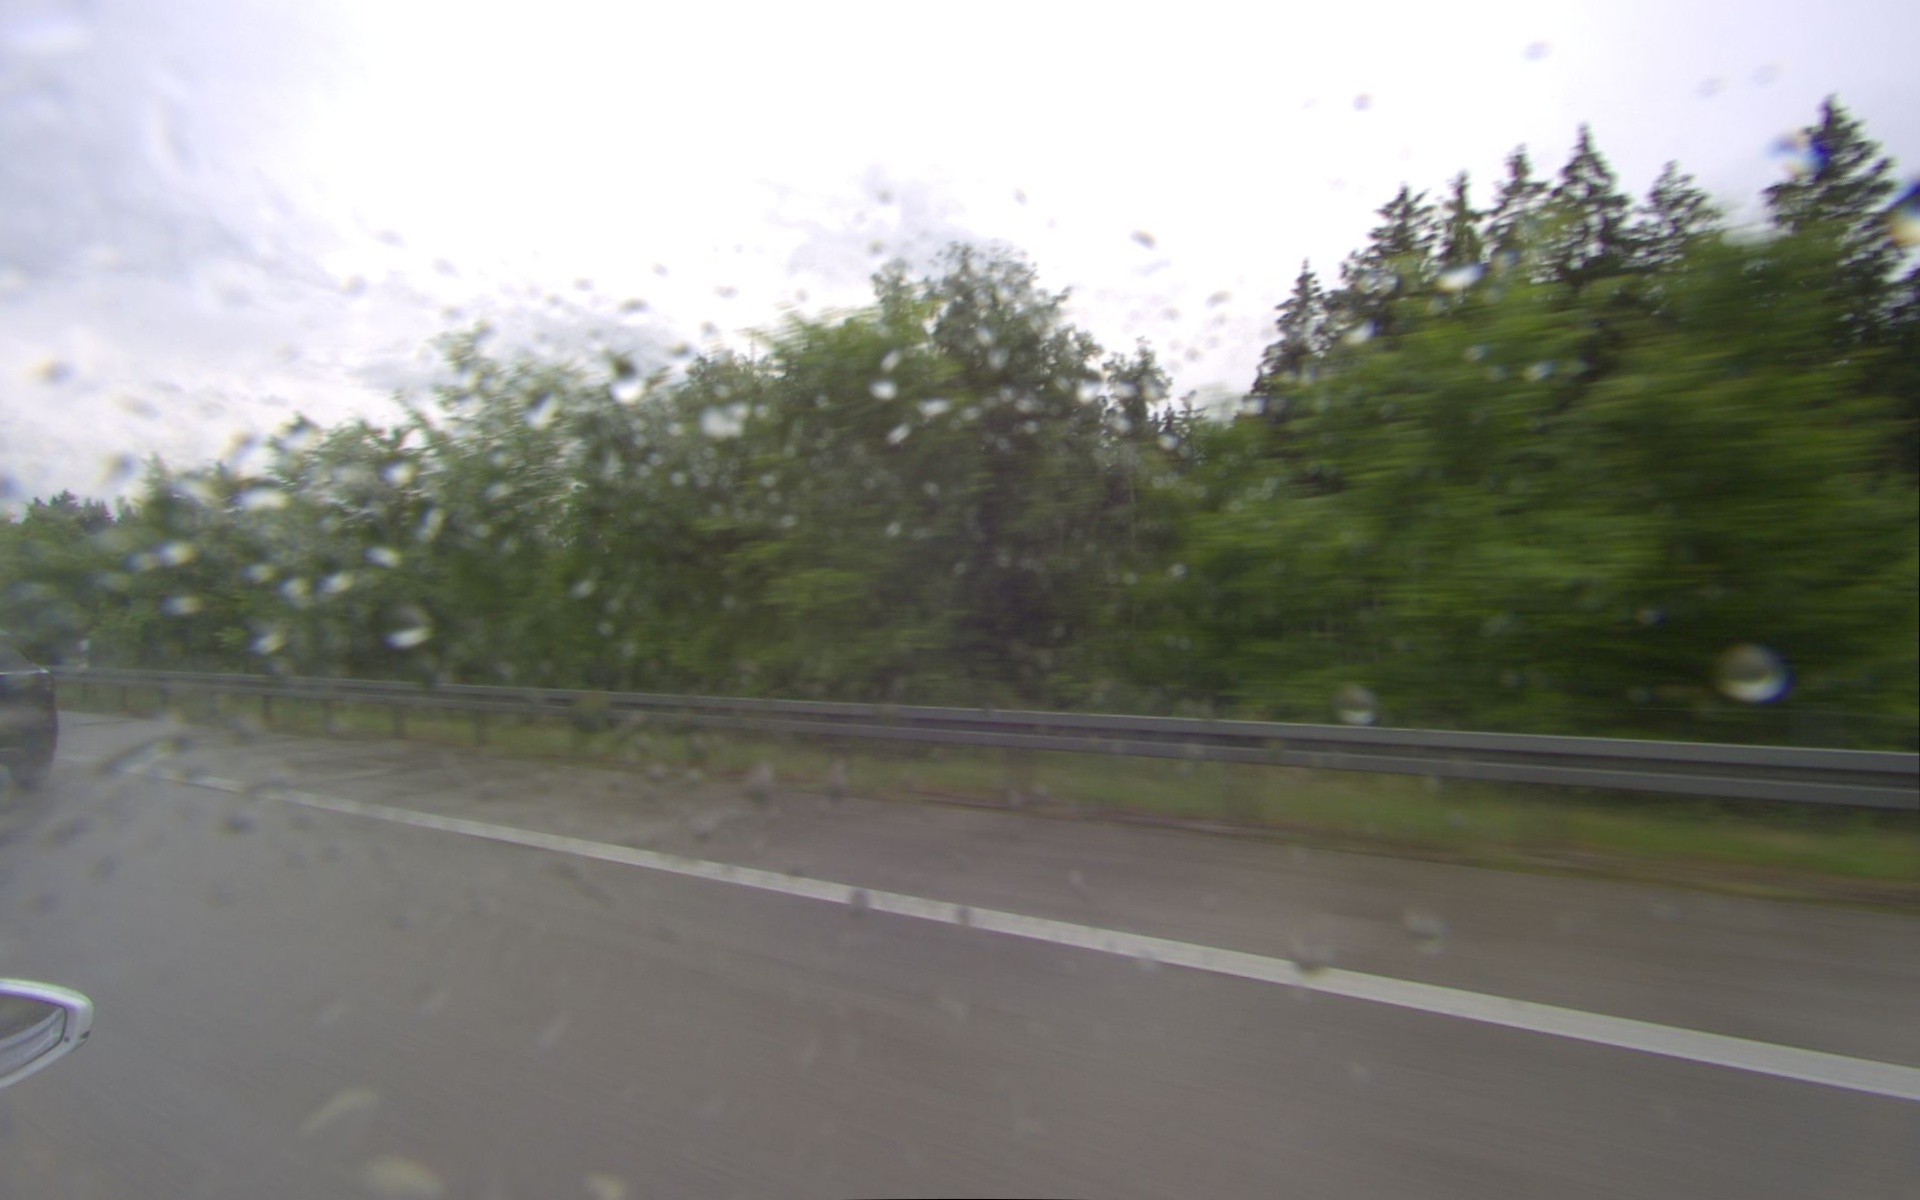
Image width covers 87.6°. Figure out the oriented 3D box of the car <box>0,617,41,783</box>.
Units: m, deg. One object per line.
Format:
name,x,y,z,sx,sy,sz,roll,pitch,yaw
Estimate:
car,-11.096,0.983,10.154,3.583,1.596,1.889,-1,-2,35
